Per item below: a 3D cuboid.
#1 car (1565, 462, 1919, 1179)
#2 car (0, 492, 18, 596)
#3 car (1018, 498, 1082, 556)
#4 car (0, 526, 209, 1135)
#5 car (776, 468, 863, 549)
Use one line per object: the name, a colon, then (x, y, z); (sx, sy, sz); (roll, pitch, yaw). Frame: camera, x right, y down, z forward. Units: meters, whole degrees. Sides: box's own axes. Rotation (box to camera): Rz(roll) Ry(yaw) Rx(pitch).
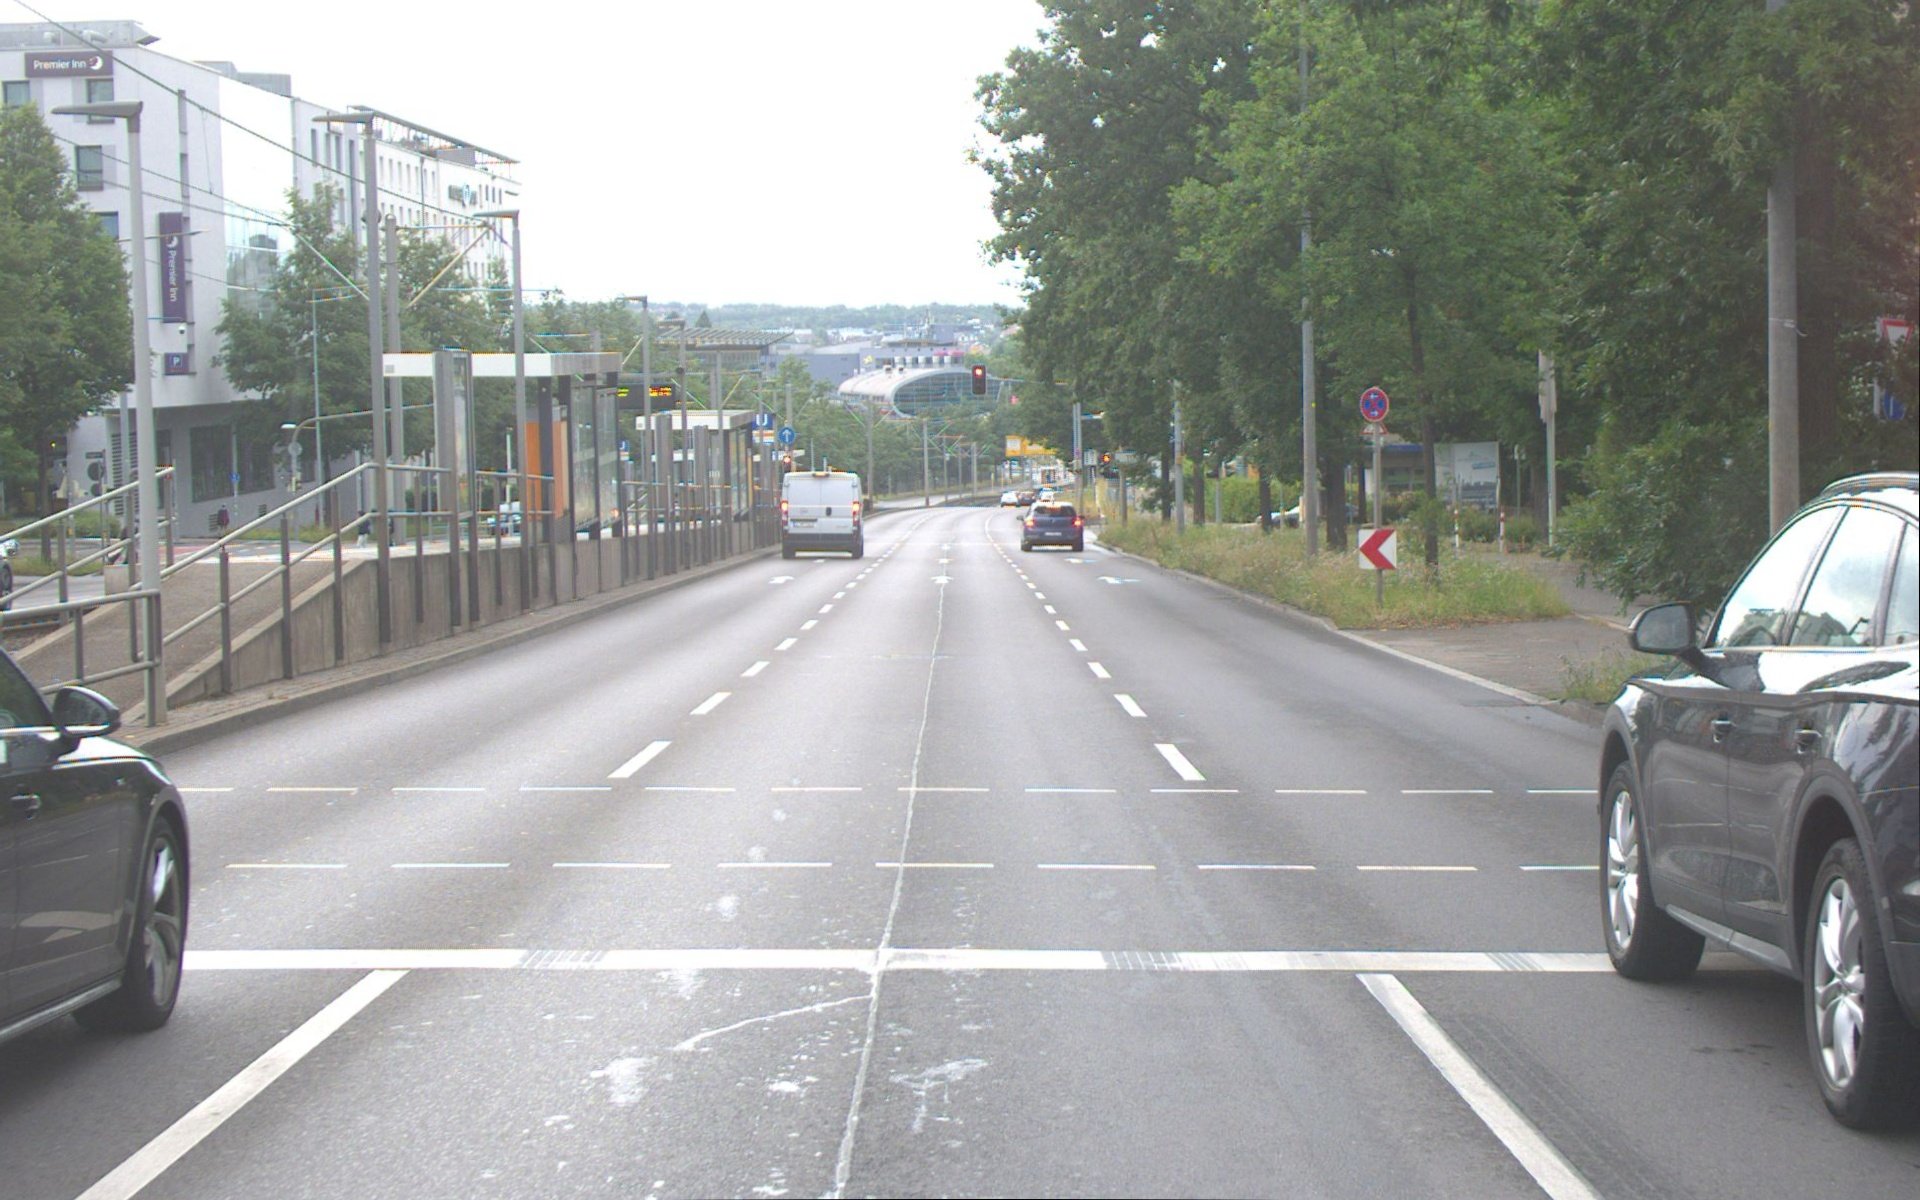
car: (3.048, 0.437, 9.808); (1.817, 1.607, 4.471); (0, 2, 0)
car: (-16.851, -0.844, 55.464); (1.993, 1.713, 4.841); (-2, 2, -1)
car: (2.644, -2.172, 101.852); (1.774, 1.685, 3.846); (0, 2, 0)
car: (-3.221, 0.563, 8.464); (1.780, 1.461, 4.514); (0, 2, 0)
car: (-3.658, -2.402, 90.028); (2.093, 2.046, 4.607); (0, 2, 0)
